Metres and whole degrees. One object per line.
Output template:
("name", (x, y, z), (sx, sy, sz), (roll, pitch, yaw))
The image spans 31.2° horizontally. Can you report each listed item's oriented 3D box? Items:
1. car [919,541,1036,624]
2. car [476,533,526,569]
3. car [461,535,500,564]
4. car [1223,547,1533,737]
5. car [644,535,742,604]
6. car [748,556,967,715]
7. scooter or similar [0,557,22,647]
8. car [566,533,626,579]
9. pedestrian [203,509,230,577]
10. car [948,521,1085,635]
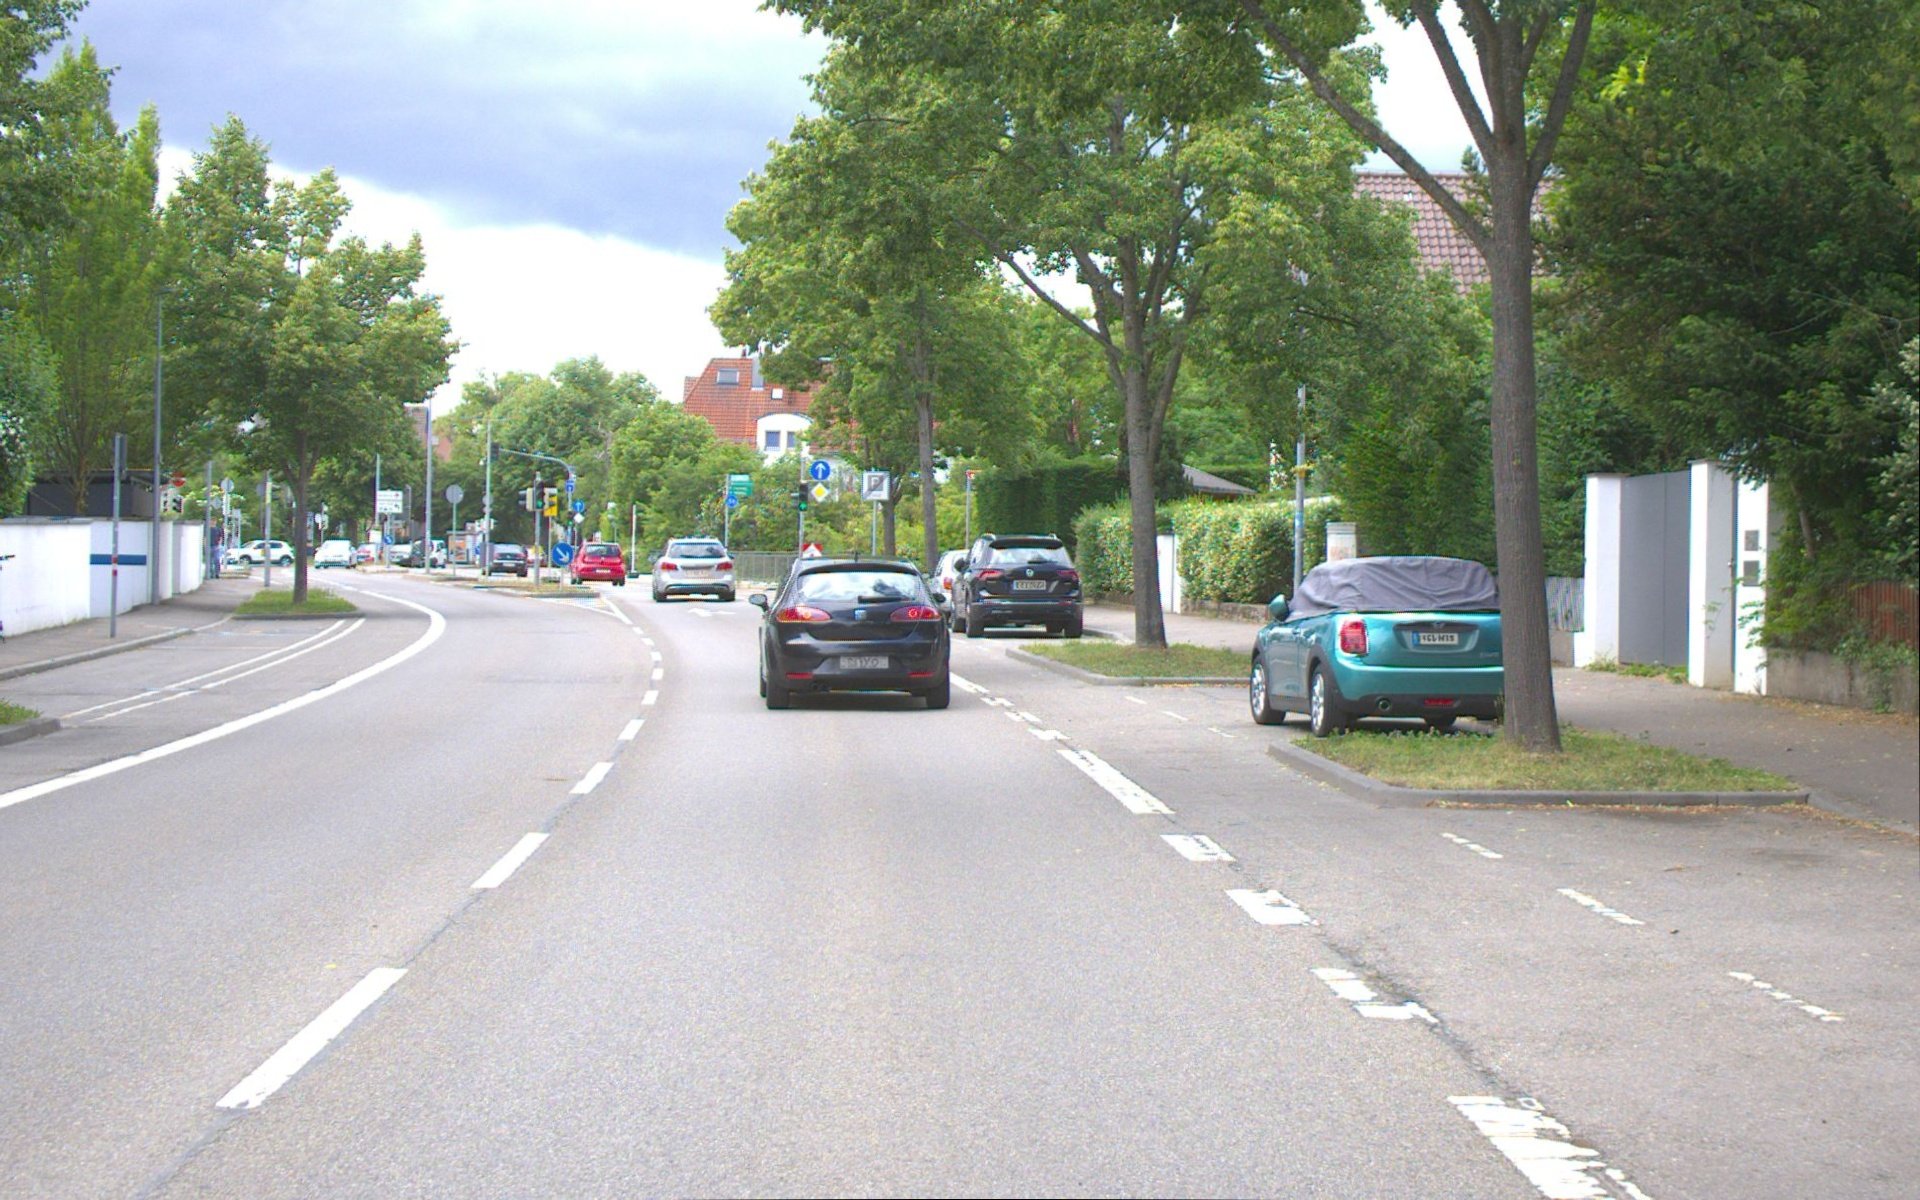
("car", (0.285, -0.325, 61.573), (1.685, 1.444, 3.580), (0, 1, -7))
("car", (-20.302, -2.157, 152.088), (1.993, 1.503, 4.001), (1, 0, -5))
("car", (-27.965, -2.957, 200.535), (1.973, 1.670, 3.877), (1, 1, -3))
("car", (3.330, 0.287, 28.090), (1.683, 1.427, 4.045), (0, 1, -5))
("car", (-6.261, -0.719, 80.972), (1.993, 1.552, 4.000), (-1, 1, 0))
("car", (-0.938, 0.308, 33.348), (1.783, 1.444, 3.557), (1, 1, 4))
("scooter or similar", (-12.714, 0.019, 45.230), (0.501, 1.150, 1.301), (1, 1, -5))
("car", (-12.370, -1.515, 116.992), (1.993, 1.525, 4.001), (0, 1, -5))
("pedestrian", (-22.770, -1.735, 105.284), (0.752, 2.047, 0.725), (1, 0, -9))
("car", (0.879, -0.361, 55.696), (1.788, 1.765, 3.983), (0, 1, -5))
